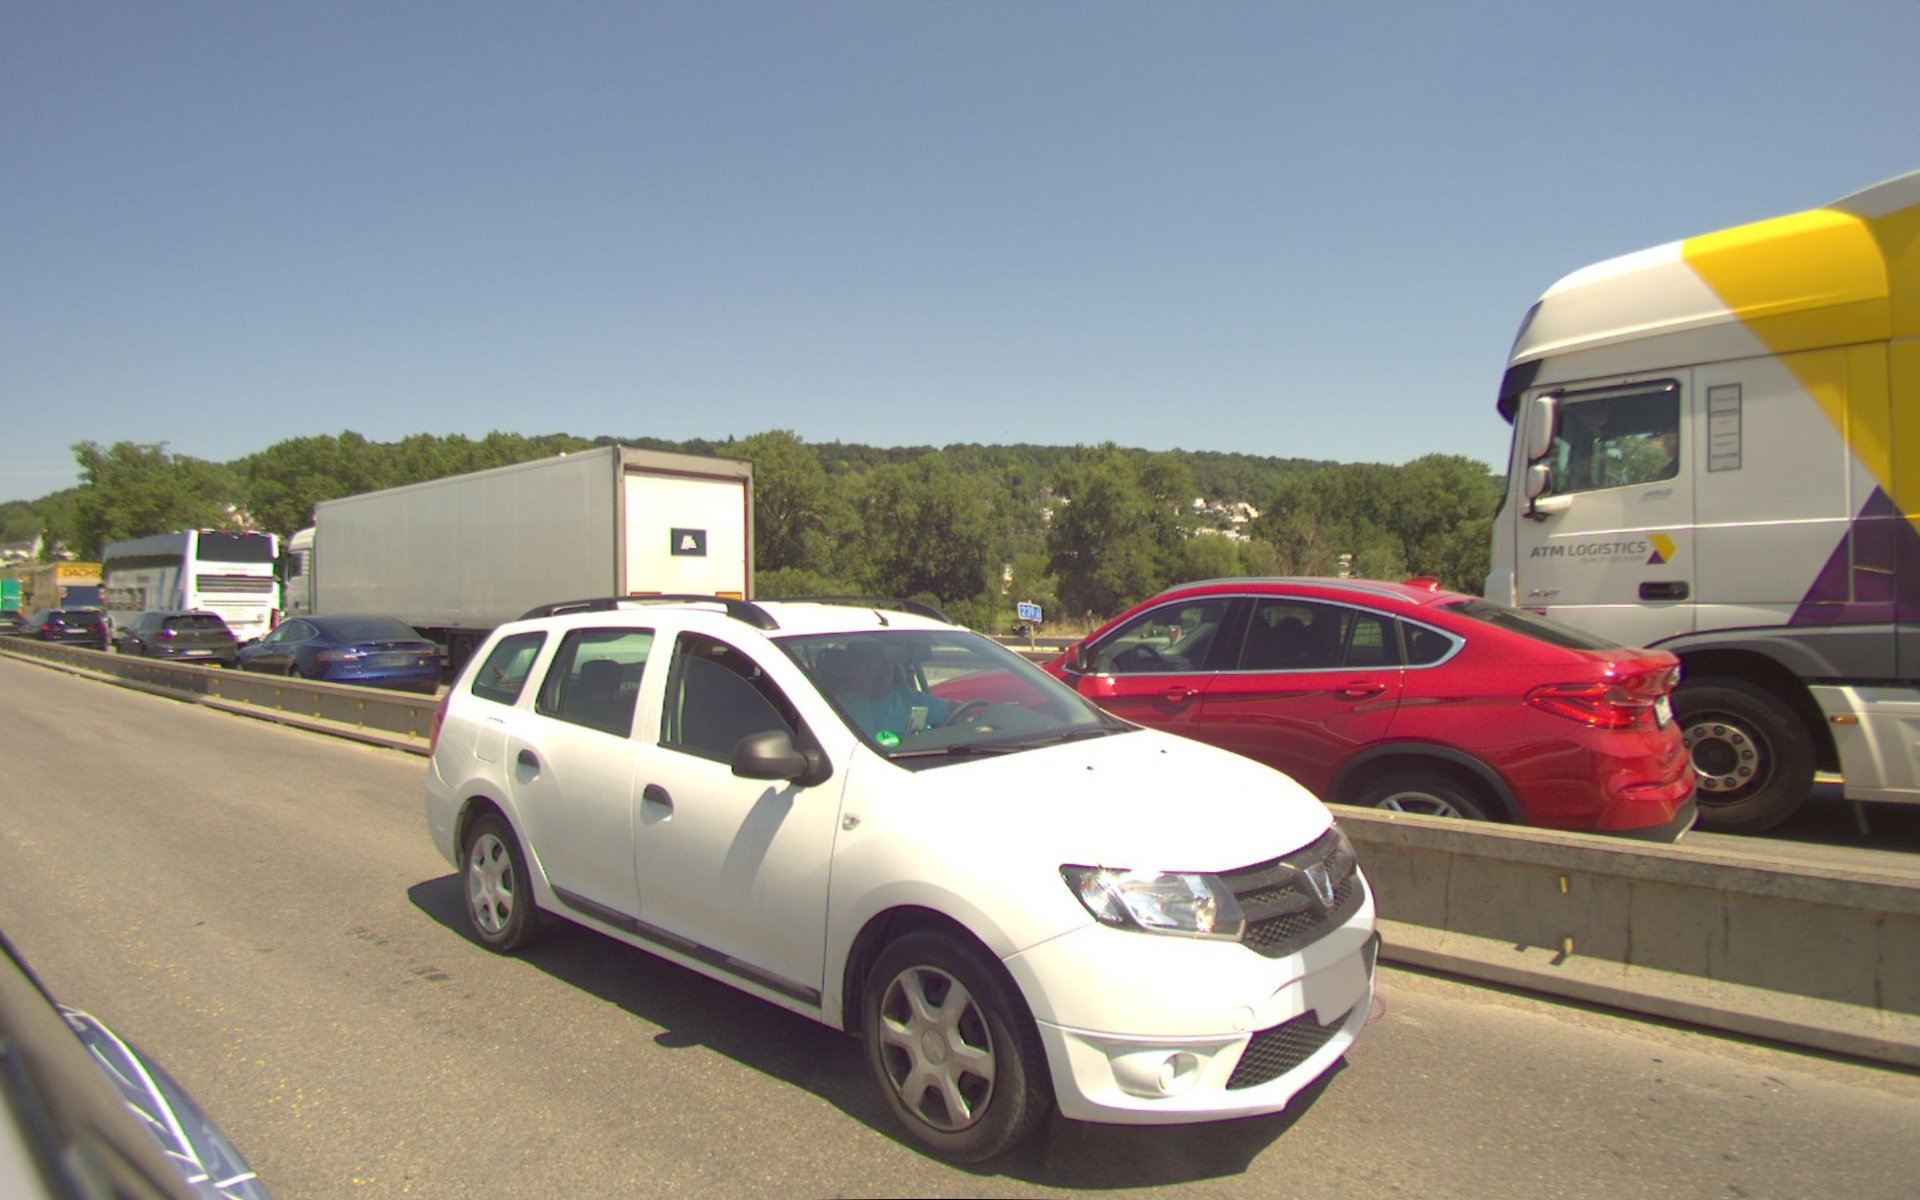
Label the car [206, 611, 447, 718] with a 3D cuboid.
[{"bbox_3d":[-10.462,1.002,16.523,5.116,1.448,1.794,-3,0,40],"label":"car"}]

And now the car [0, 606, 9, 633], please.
[{"bbox_3d":[-55.707,1.080,57.473,4.900,1.505,1.840,-1,-3,40],"label":"car"}]

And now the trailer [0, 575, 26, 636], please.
[{"bbox_3d":[-75.101,0.514,78.417,13.163,4.464,2.785,-1,-2,42],"label":"trailer"}]

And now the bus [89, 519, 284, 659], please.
[{"bbox_3d":[-28.518,-0.273,36.853,14.466,4.296,2.711,-1,-1,41],"label":"bus"}]

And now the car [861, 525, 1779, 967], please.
[{"bbox_3d":[1.802,0.604,6.057,4.754,1.643,1.974,-3,-1,40],"label":"car"}]

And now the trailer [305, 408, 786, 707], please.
[{"bbox_3d":[-9.293,-0.502,20.697,14.070,4.417,3.108,-1,-1,41],"label":"trailer"}]

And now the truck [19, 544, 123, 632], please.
[{"bbox_3d":[-46.489,-0.470,52.789,10.075,4.184,2.773,-1,-2,42],"label":"truck"}]

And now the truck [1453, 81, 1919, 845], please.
[{"bbox_3d":[6.684,-0.771,6.312,5.872,4.216,2.946,-1,-1,42],"label":"truck"}]

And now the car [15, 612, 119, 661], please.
[{"bbox_3d":[-29.786,1.192,33.686,5.087,1.434,1.898,-2,0,41],"label":"car"}]

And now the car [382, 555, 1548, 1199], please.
[{"bbox_3d":[-0.452,0.703,4.122,4.702,1.542,1.800,-1,0,40],"label":"car"}]

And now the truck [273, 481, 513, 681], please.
[{"bbox_3d":[-14.002,-0.321,24.757,6.699,4.230,3.065,-2,-1,41],"label":"truck"}]

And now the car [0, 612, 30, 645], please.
[{"bbox_3d":[-43.890,1.270,45.998,4.927,1.454,1.819,-1,-1,41],"label":"car"}]

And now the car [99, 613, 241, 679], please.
[{"bbox_3d":[-19.351,1.052,24.709,4.679,1.434,1.814,-1,-1,40],"label":"car"}]

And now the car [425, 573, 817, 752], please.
[{"bbox_3d":[-4.032,0.614,11.573,4.877,1.633,1.974,-1,-1,40],"label":"car"}]
